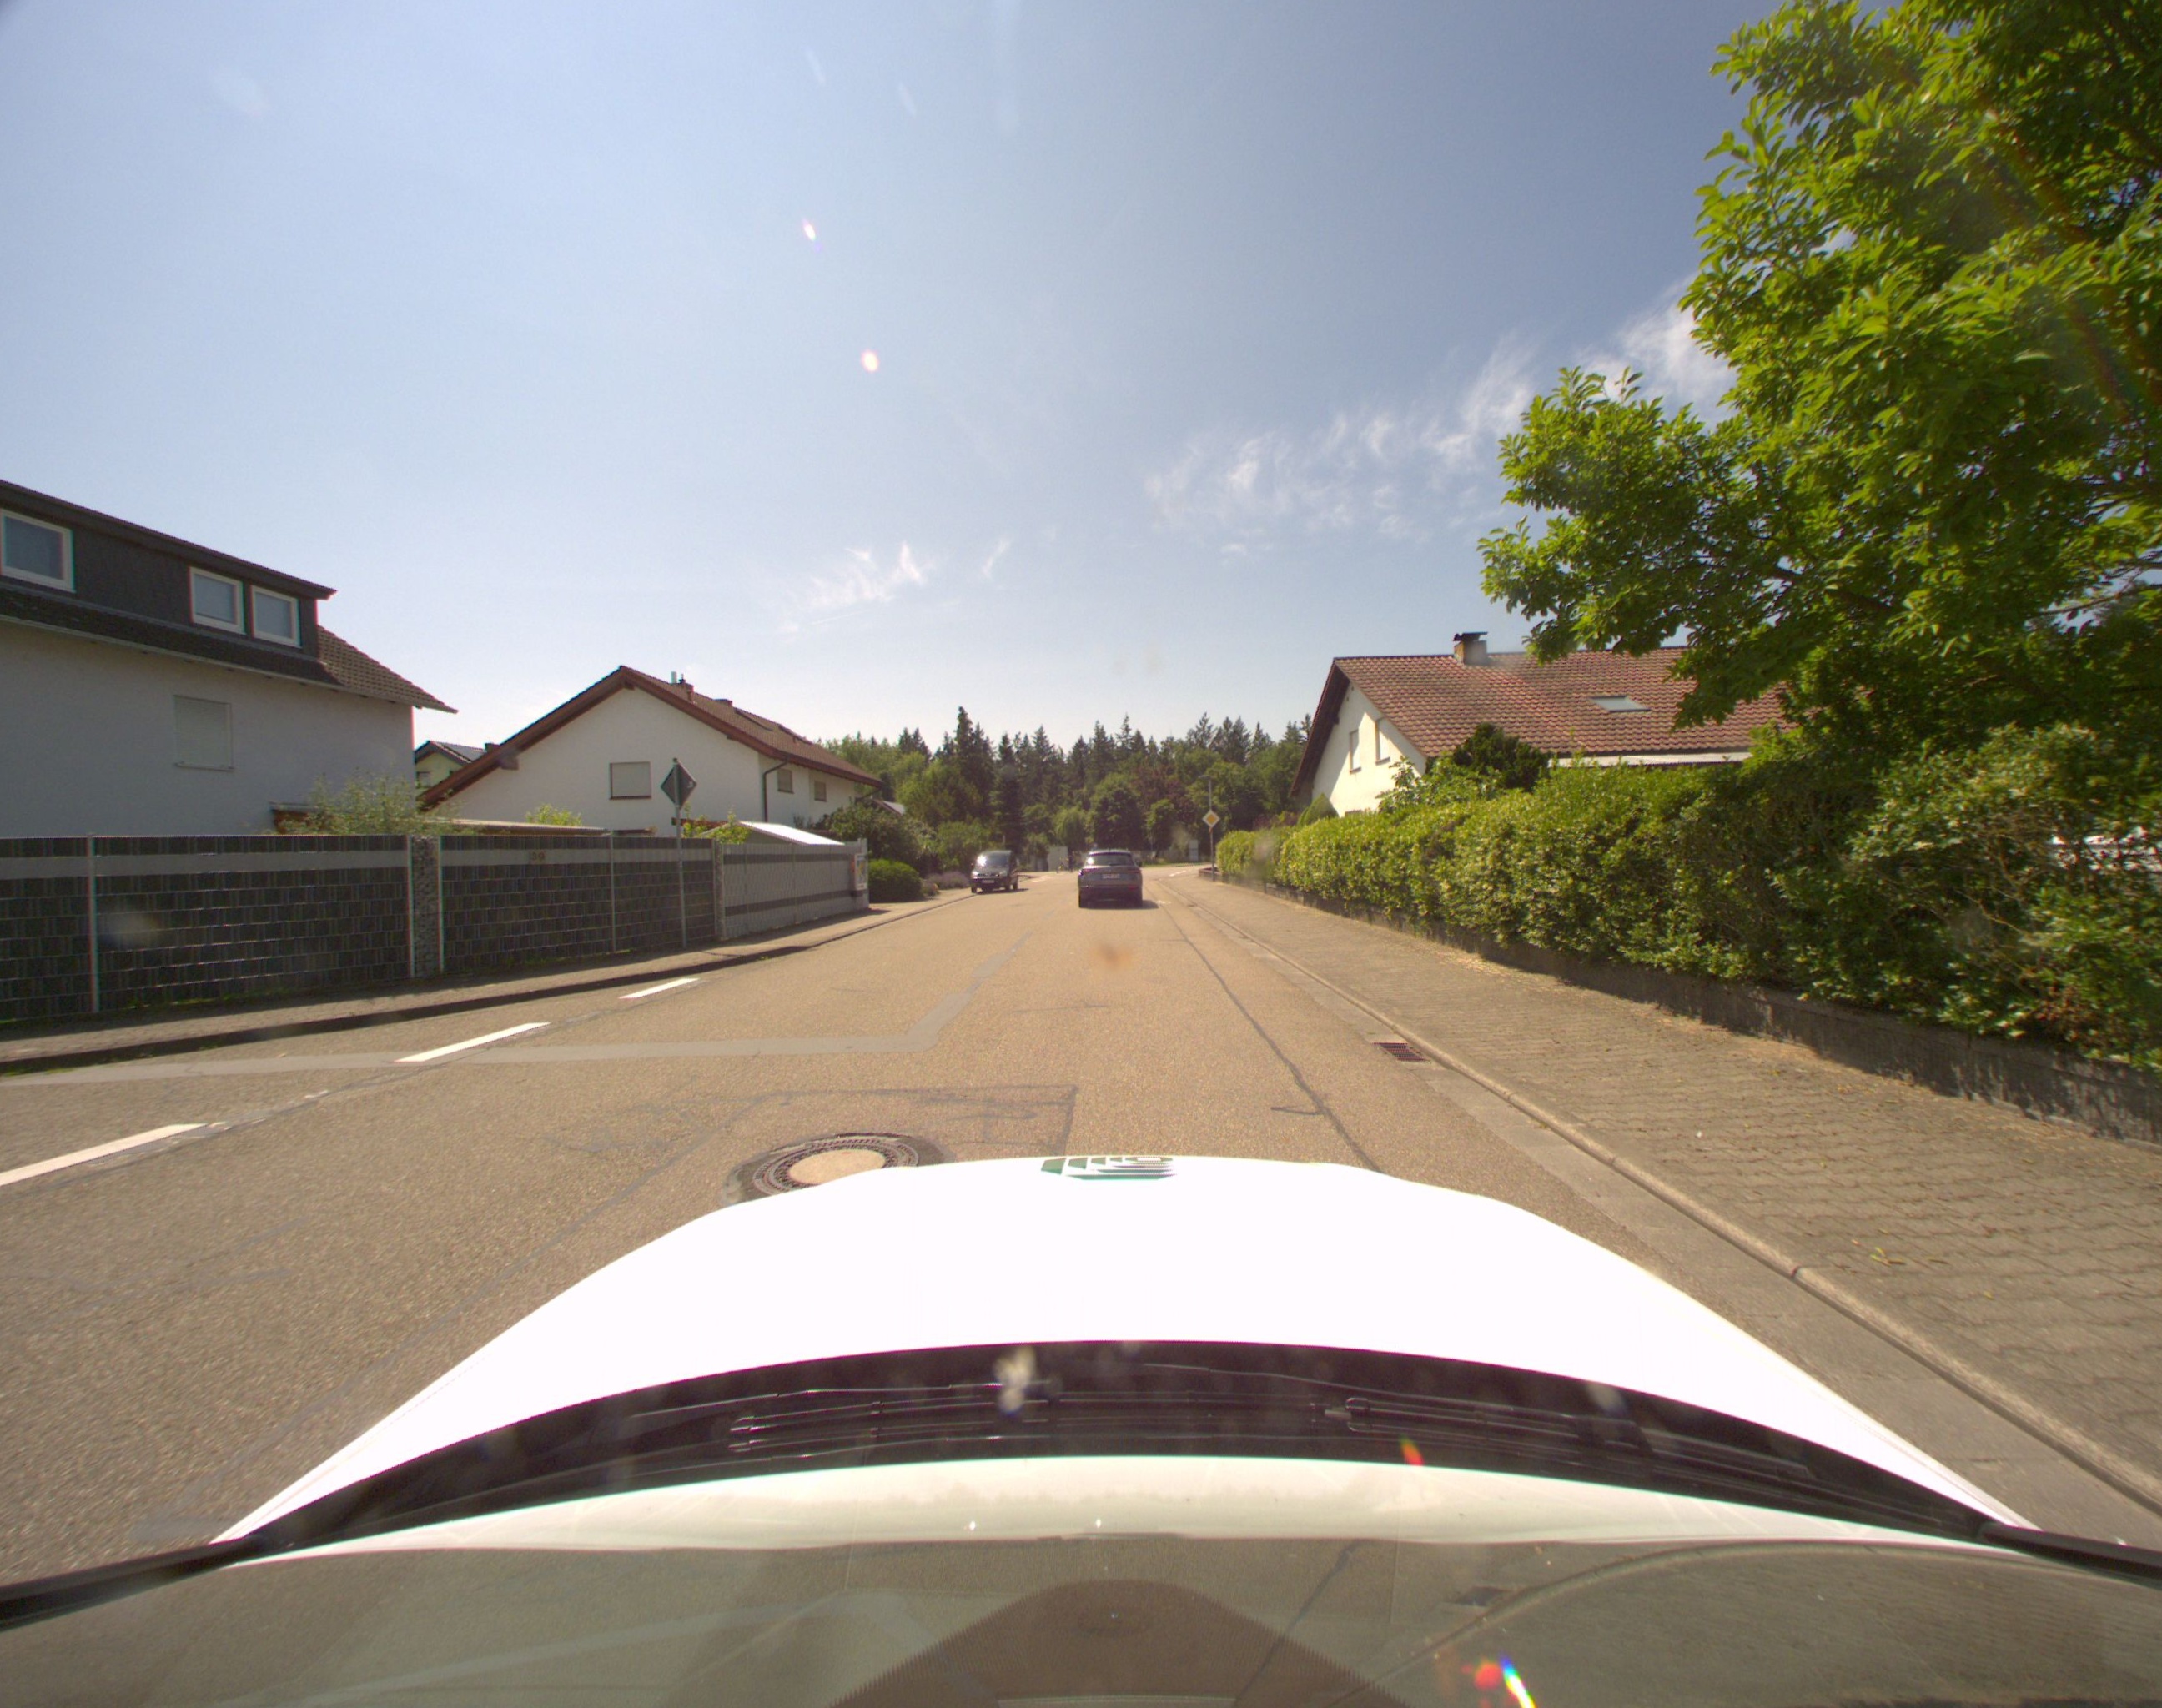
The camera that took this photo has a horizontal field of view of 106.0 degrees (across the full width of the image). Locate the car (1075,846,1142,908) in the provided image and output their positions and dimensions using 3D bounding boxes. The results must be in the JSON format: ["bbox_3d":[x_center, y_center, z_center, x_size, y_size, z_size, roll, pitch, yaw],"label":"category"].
[{"bbox_3d":[0.791,0.614,23.734,1.756,1.618,4.001,-1,0,1],"label":"car"}]

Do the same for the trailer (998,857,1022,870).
[{"bbox_3d":[-6.817,0.916,78.440,2.212,1.084,1.104,-2,0,-6],"label":"trailer"}]

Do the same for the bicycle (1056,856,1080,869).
[{"bbox_3d":[-1.015,0.643,63.325,1.846,0.964,0.441,-2,0,-16],"label":"bicycle"}]

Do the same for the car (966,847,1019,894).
[{"bbox_3d":[-3.805,0.668,35.553,1.712,1.846,4.055,-2,0,1],"label":"car"}]

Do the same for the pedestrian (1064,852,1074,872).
[{"bbox_3d":[-0.960,0.643,62.964,0.611,1.501,0.501,-2,0,-17],"label":"pedestrian"}]
